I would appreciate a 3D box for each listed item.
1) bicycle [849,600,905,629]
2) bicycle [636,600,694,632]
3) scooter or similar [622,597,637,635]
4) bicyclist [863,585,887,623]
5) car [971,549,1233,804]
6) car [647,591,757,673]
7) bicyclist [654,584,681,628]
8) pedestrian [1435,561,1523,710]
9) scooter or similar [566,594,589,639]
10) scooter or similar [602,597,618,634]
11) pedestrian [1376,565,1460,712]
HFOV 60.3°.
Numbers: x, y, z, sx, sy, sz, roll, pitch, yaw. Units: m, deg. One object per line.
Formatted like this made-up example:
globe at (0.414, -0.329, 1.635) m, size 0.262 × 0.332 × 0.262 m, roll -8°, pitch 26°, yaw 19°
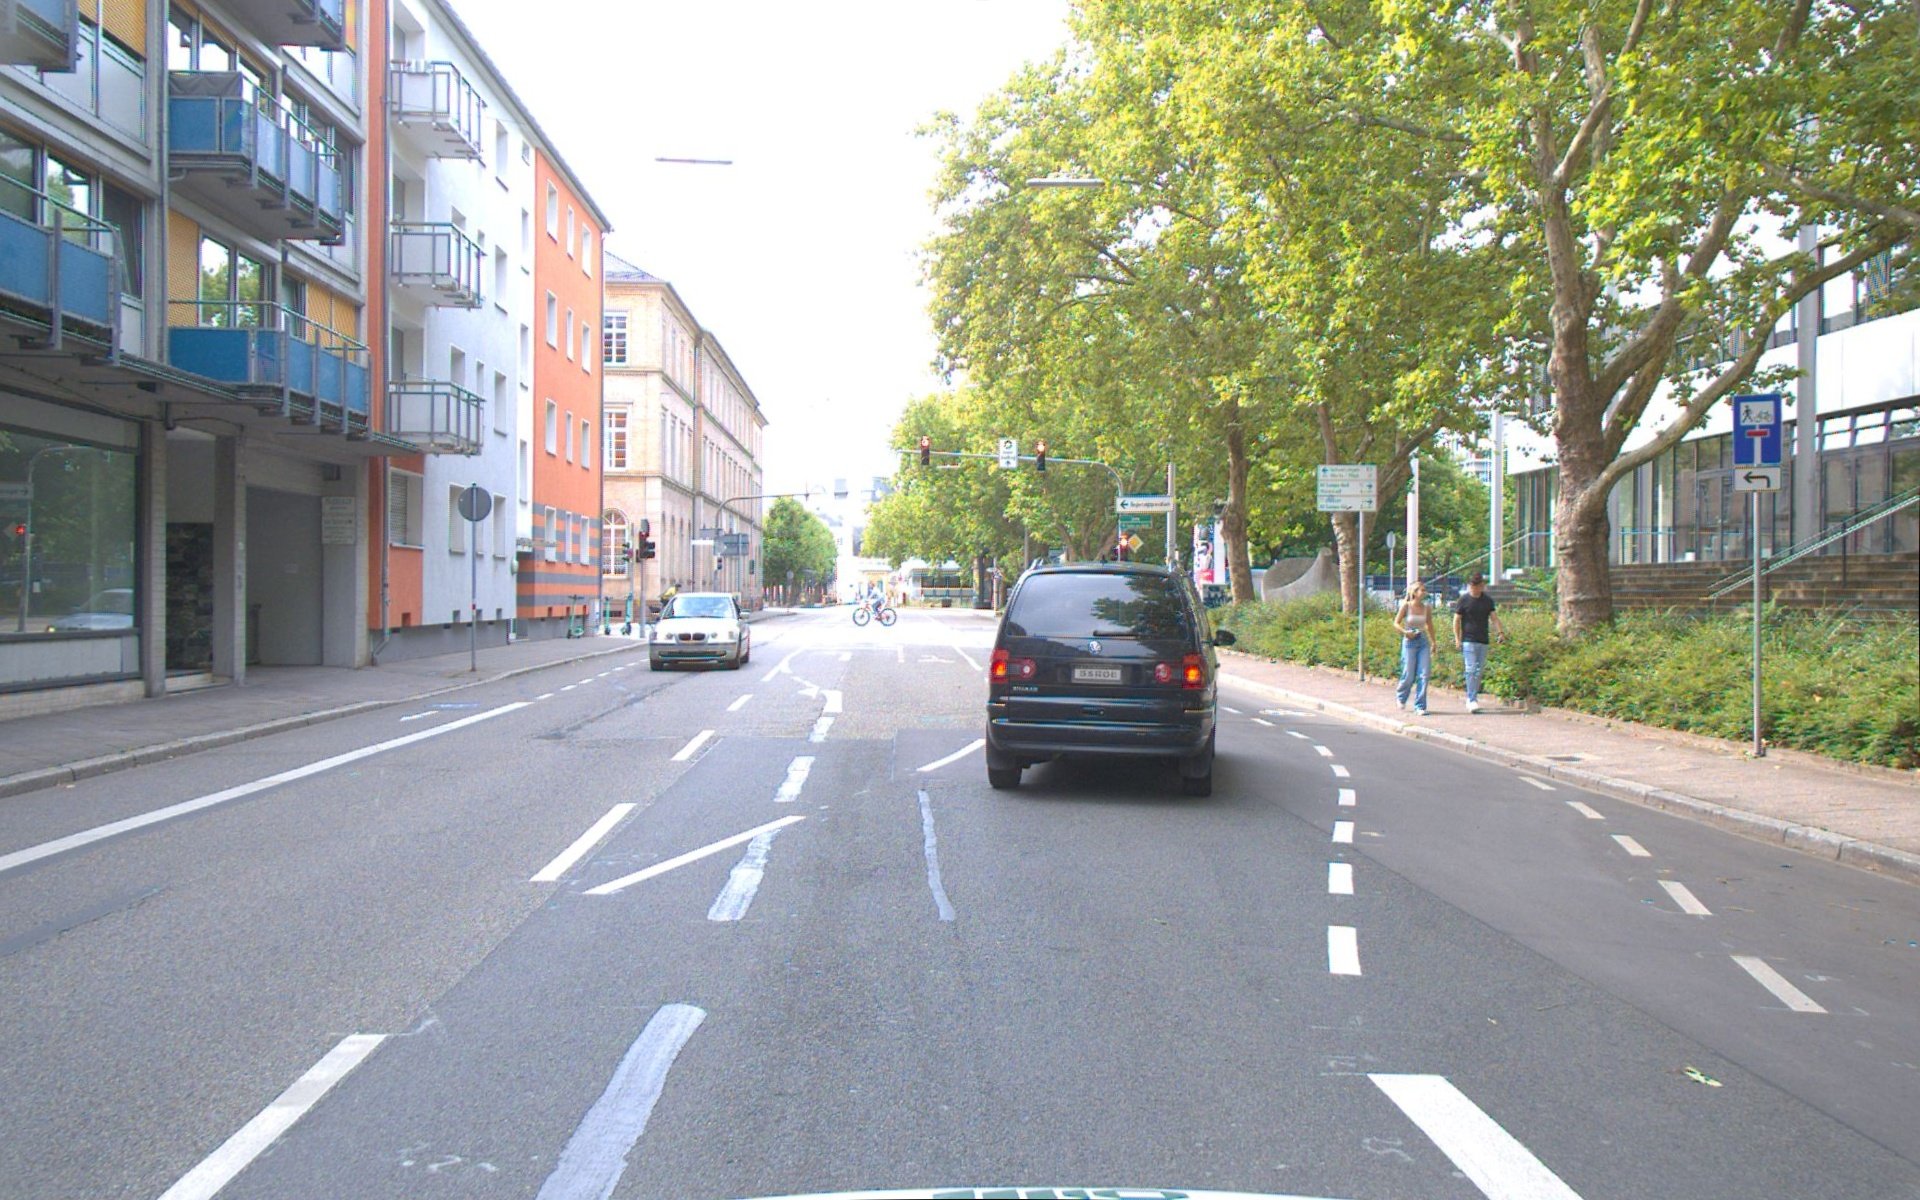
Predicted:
bicycle at (-3.312, 0.578, 66.193) m, size 2.191 × 1.113 × 0.626 m, roll 0°, pitch 0°, yaw -8°
bicycle at (-10.435, 0.551, 58.588) m, size 1.979 × 1.113 × 0.627 m, roll 0°, pitch 0°, yaw -5°
scooter or similar at (-10.442, 0.515, 52.258) m, size 0.370 × 1.164 × 1.140 m, roll 0°, pitch -1°, yaw -6°
bicyclist at (-3.397, 0.147, 66.183) m, size 0.897 × 1.519 × 0.625 m, roll 0°, pitch 0°, yaw -7°
car at (1.343, 0.515, 13.973) m, size 1.834 × 1.775 × 4.577 m, roll 1°, pitch 0°, yaw 9°
car at (-4.992, 0.577, 32.426) m, size 1.722 × 1.452 × 4.096 m, roll -1°, pitch 0°, yaw -3°
bicyclist at (-10.365, 0.206, 58.599) m, size 0.897 × 1.541 × 0.625 m, roll 0°, pitch 0°, yaw -6°
pedestrian at (6.595, 0.444, 21.073) m, size 0.701 × 1.831 × 1.033 m, roll -1°, pitch 0°, yaw -4°
scooter or similar at (-10.547, 0.466, 45.604) m, size 0.370 × 1.204 × 1.389 m, roll 0°, pitch -1°, yaw -2°
scooter or similar at (-10.968, 0.494, 51.805) m, size 0.370 × 1.167 × 1.140 m, roll 0°, pitch -1°, yaw -6°
pedestrian at (5.835, 0.479, 21.115) m, size 0.696 × 1.814 × 1.033 m, roll -1°, pitch 0°, yaw -4°
